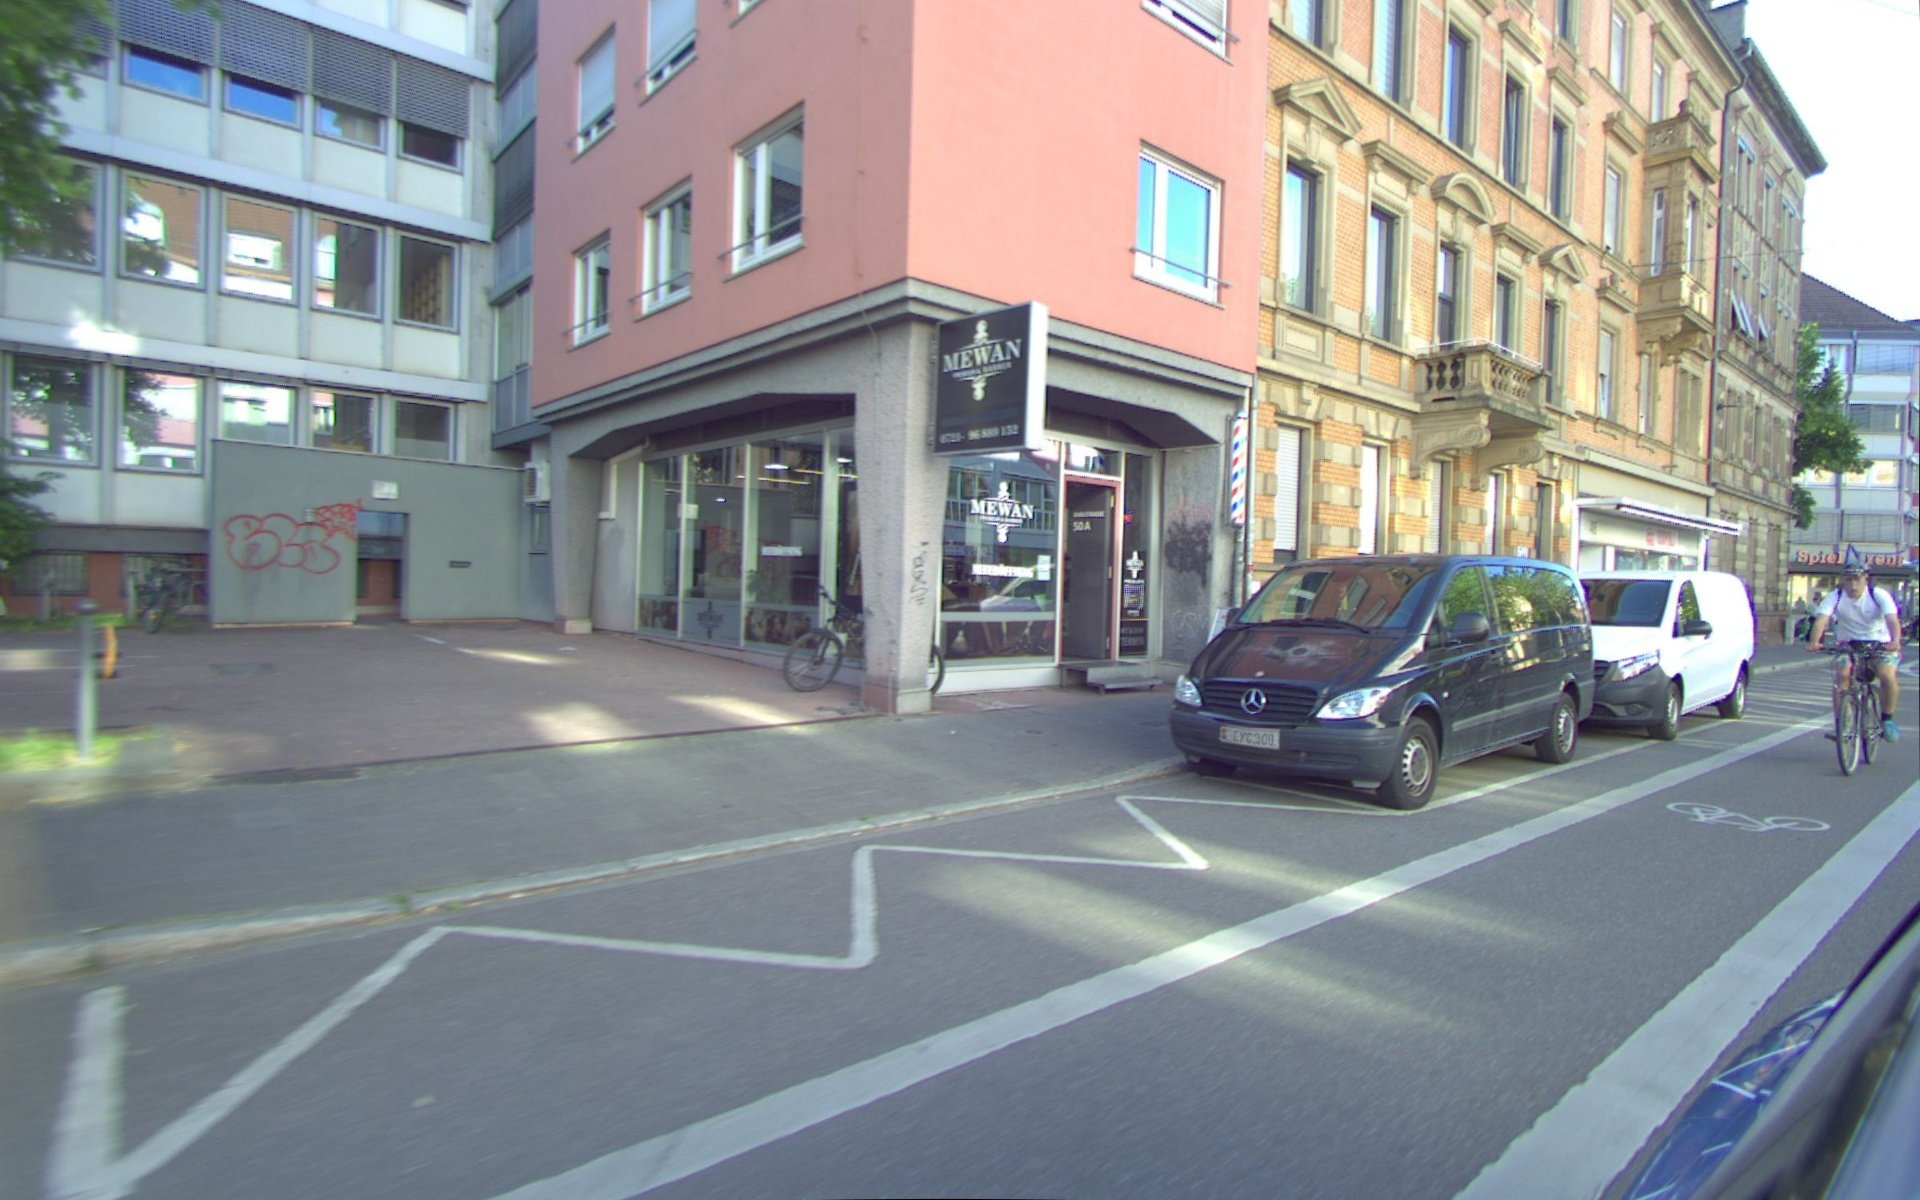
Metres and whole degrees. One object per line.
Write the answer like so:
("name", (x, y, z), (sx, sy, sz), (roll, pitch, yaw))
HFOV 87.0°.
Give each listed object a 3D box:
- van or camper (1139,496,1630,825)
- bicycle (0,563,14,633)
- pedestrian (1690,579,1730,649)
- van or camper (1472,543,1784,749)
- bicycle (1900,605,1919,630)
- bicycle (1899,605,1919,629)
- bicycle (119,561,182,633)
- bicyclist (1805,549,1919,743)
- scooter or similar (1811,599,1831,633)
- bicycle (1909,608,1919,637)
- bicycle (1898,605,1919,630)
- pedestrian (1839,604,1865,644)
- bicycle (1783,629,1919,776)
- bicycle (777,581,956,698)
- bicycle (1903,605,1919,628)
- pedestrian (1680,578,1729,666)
("van or camper", (3.978, 0.369, 8.880), (5.240, 2.071, 1.973), (0, 0, -42))
("bicycle", (-13.651, -0.042, 14.167), (0.441, 0.886, 1.588), (1, 3, -38))
("pedestrian", (19.306, 0.359, 26.061), (0.576, 1.750, 0.471), (2, 1, -4))
("van or camper", (8.519, 0.421, 12.658), (5.380, 2.062, 1.934), (-1, 1, -41))
("bicycle", (47.419, 0.892, 49.536), (0.617, 1.180, 1.949), (1, 2, -42))
("bicycle", (46.875, 0.870, 49.022), (0.554, 1.120, 1.949), (1, 2, -42))
("bicycle", (-12.403, -0.069, 15.497), (1.581, 0.974, 0.443), (5, 3, 40))
("bicyclist", (8.314, 0.390, 9.265), (0.910, 1.676, 0.657), (0, 1, -35))
("scooter or similar", (34.321, 0.641, 40.349), (0.389, 1.305, 1.504), (2, 1, 33))
("bicycle", (37.711, 0.914, 38.707), (0.587, 1.107, 1.946), (1, 2, -32))
("bicycle", (46.415, 0.873, 48.580), (0.554, 1.120, 1.949), (1, 2, -42))
("pedestrian", (33.111, 0.890, 37.566), (0.575, 1.432, 0.571), (1, 0, 27))
("bicycle", (8.284, 0.874, 9.254), (2.056, 1.153, 0.649), (0, 1, -36))
("bicycle", (-0.990, 0.410, 10.885), (1.846, 1.147, 0.427), (2, 2, 2))
("bicycle", (48.340, 0.856, 50.377), (0.554, 1.120, 1.949), (1, 2, -42))
("pedestrian", (16.043, 0.453, 21.803), (0.743, 1.836, 0.674), (0, 2, -41))
